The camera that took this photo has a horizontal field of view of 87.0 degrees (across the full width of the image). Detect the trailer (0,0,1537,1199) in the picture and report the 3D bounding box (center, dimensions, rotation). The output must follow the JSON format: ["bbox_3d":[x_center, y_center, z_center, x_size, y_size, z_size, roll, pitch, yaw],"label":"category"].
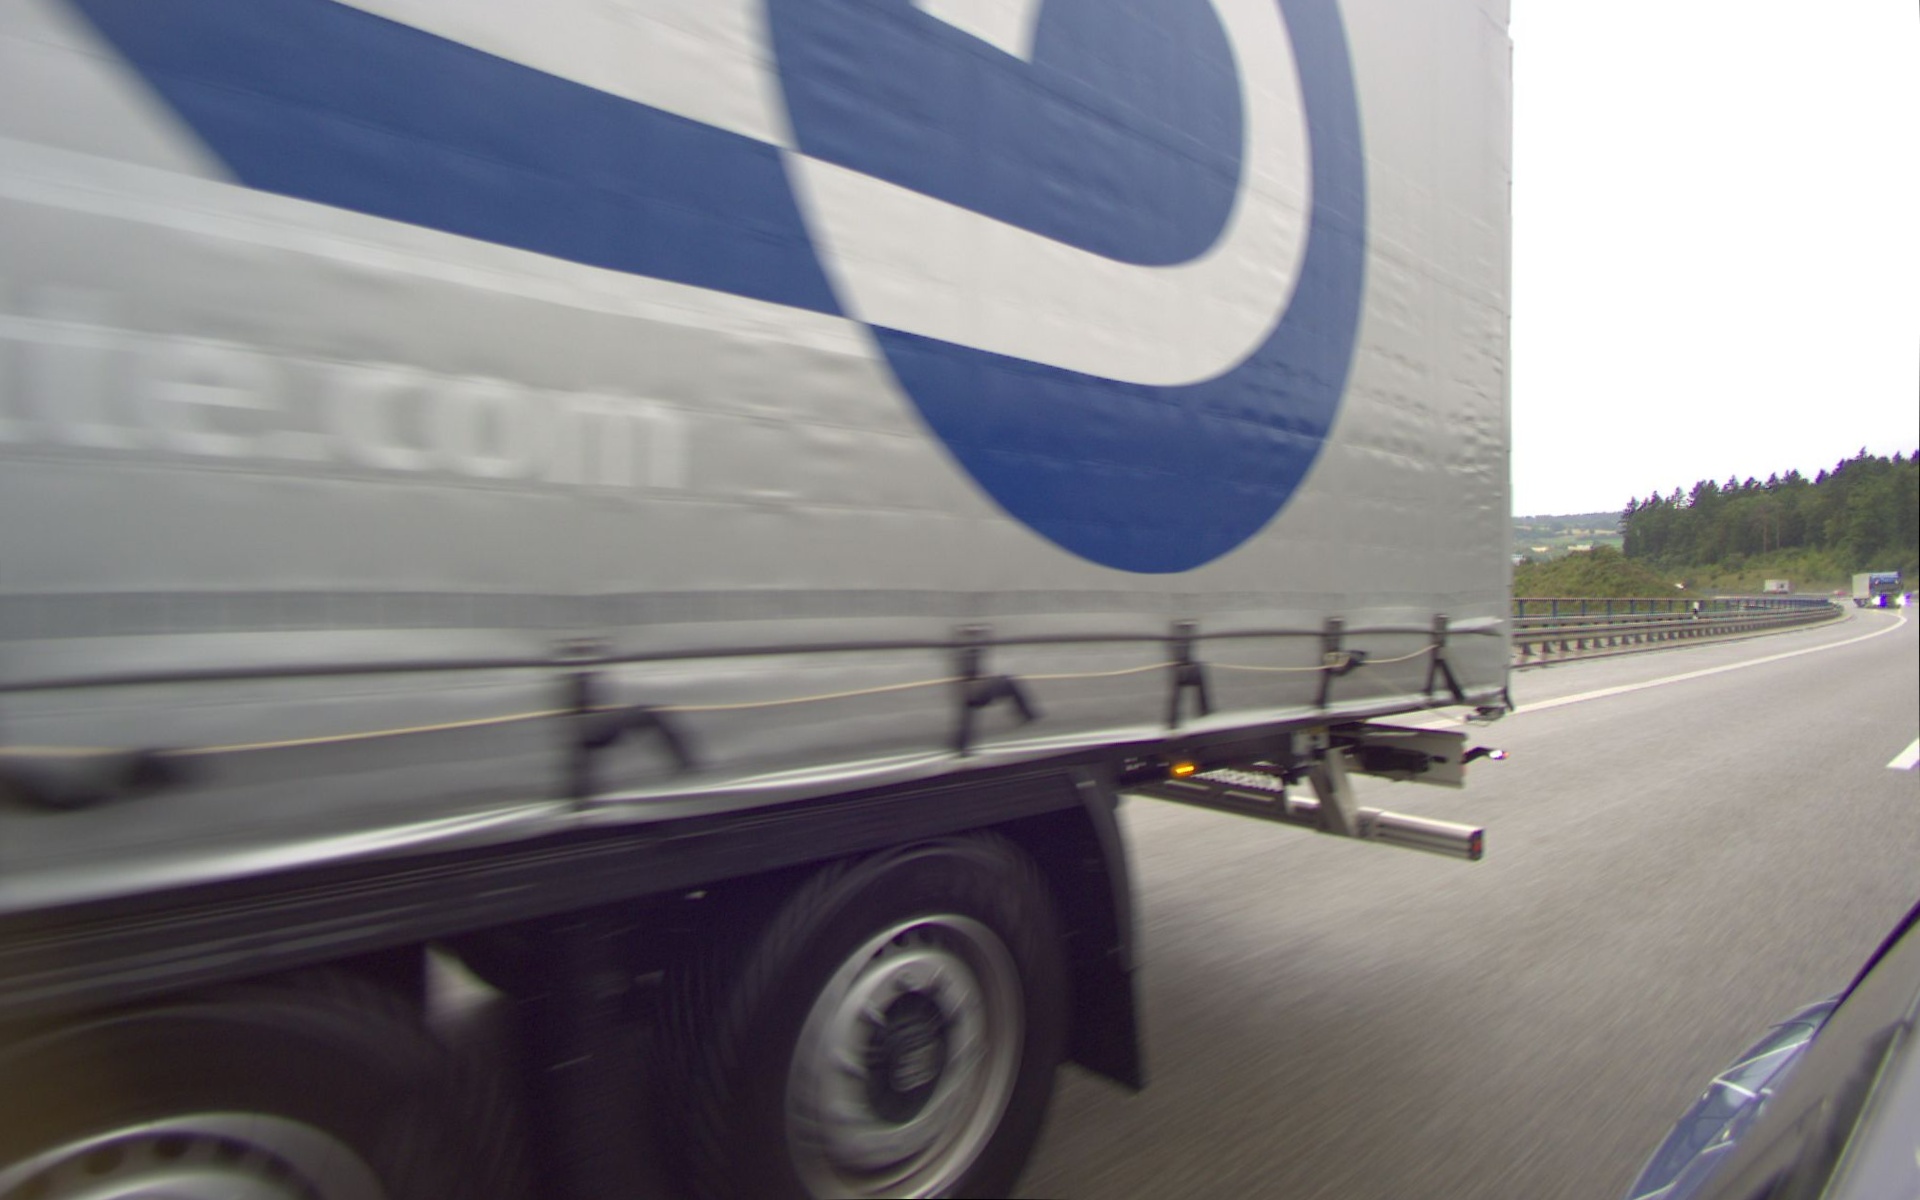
[{"bbox_3d":[-3.920,-0.647,0.167,13.465,4.092,2.684,-1,0,-41],"label":"trailer"}]

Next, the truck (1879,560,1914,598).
[{"bbox_3d":[107.624,-2.353,116.365,2.729,4.203,8.490,2,1,42],"label":"truck"}]
